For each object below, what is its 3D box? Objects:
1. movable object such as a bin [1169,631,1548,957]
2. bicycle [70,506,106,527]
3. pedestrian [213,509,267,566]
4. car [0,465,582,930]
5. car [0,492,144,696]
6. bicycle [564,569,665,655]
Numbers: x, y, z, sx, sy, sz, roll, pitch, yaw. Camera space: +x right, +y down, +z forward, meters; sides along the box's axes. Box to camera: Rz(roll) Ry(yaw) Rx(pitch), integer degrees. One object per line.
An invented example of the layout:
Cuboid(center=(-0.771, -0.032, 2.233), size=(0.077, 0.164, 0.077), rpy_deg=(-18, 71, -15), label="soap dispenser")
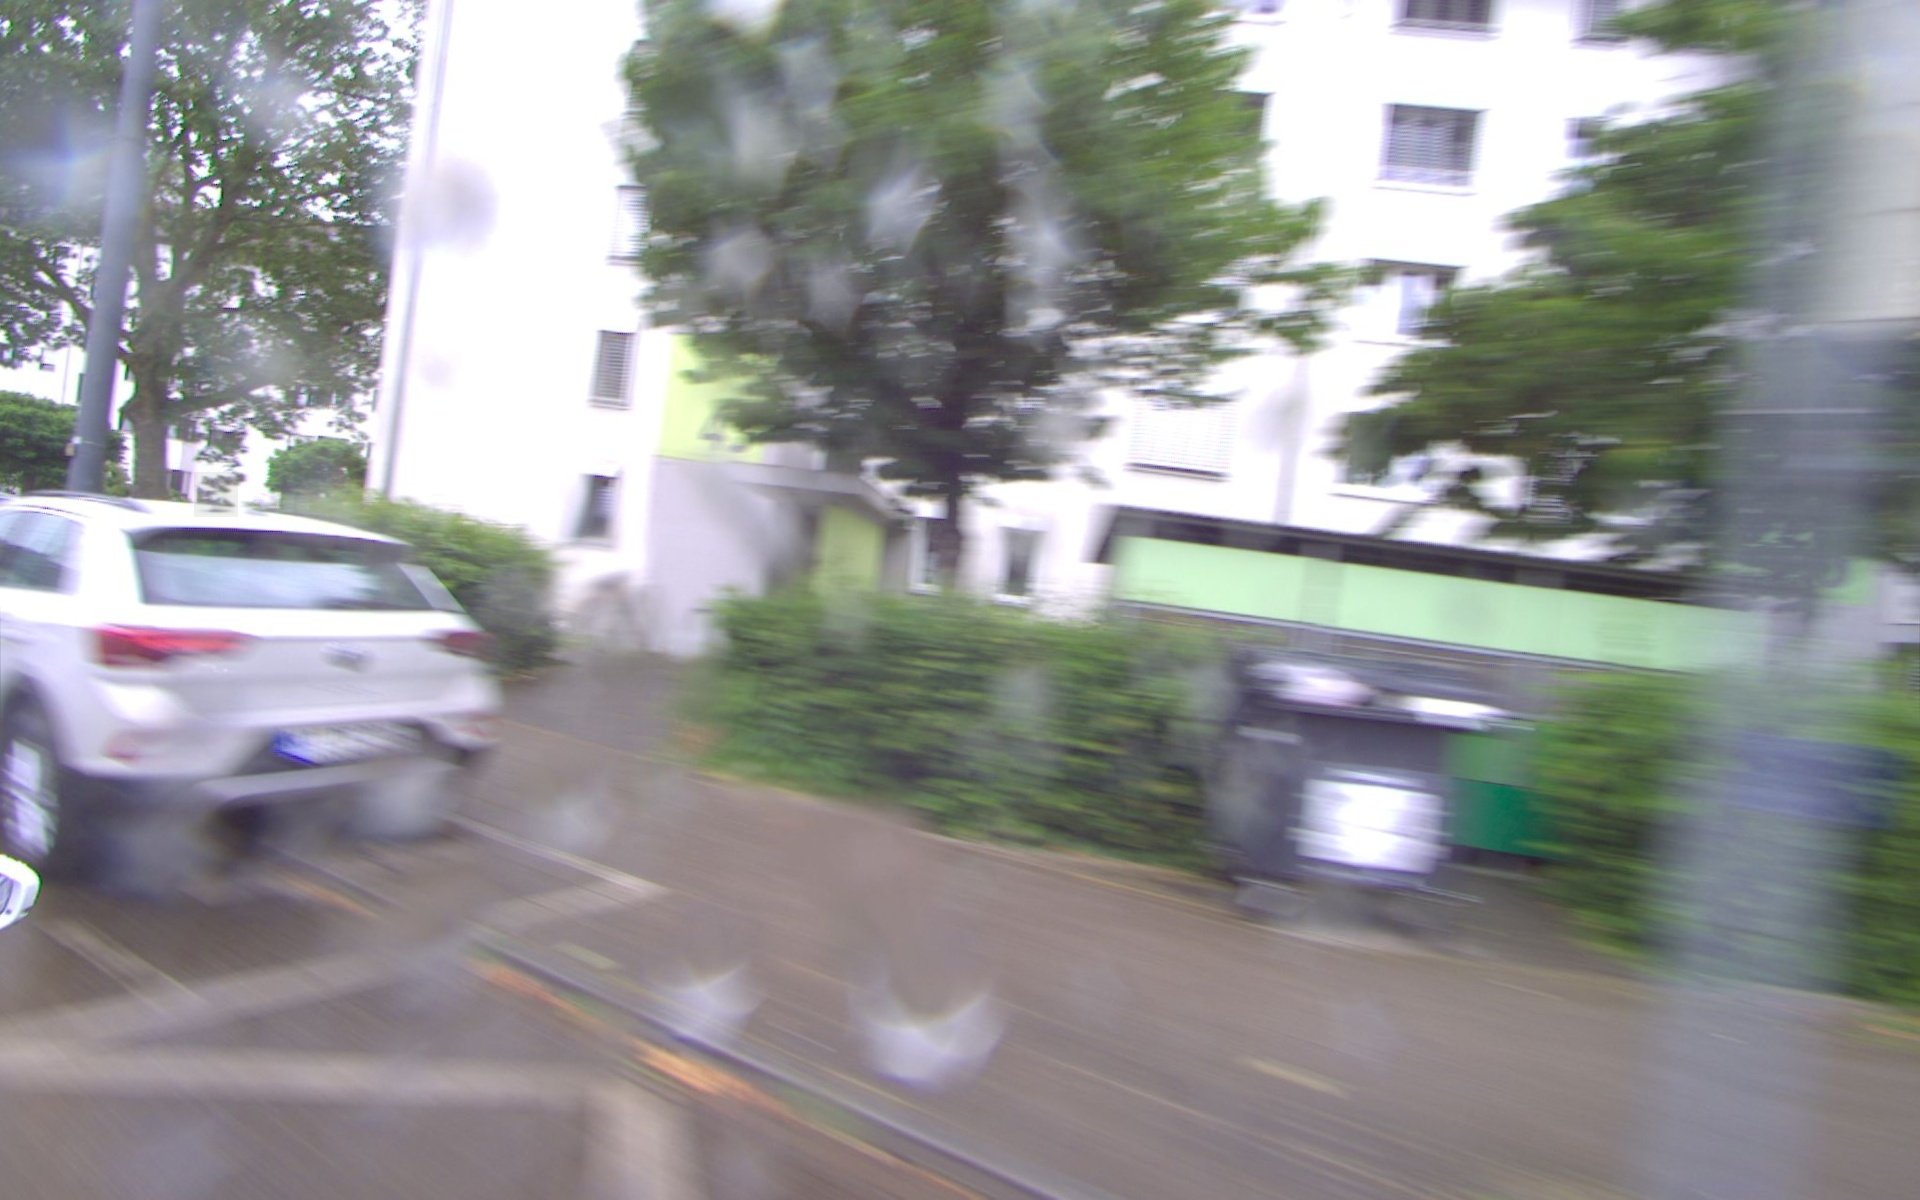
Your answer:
Cuboid(center=(2.134, 1.007, 5.622), size=(1.451, 1.458, 1.151), rpy_deg=(7, 0, -7), label="movable object such as a bin")
Cuboid(center=(-46.067, -4.405, 53.123), size=(1.542, 0.858, 0.491), rpy_deg=(7, 1, 8), label="bicycle")
Cuboid(center=(-25.096, -2.182, 35.088), size=(0.709, 1.790, 1.179), rpy_deg=(7, 0, 32), label="pedestrian")
Cuboid(center=(-4.216, 0.224, 5.378), size=(4.043, 1.594, 1.902), rpy_deg=(7, 0, 31), label="car")
Cuboid(center=(-8.769, -0.257, 8.223), size=(4.114, 1.467, 1.902), rpy_deg=(7, 0, 31), label="car")
Cuboid(center=(-5.166, 0.210, 15.179), size=(0.523, 1.155, 1.863), rpy_deg=(8, -1, 8), label="bicycle")
